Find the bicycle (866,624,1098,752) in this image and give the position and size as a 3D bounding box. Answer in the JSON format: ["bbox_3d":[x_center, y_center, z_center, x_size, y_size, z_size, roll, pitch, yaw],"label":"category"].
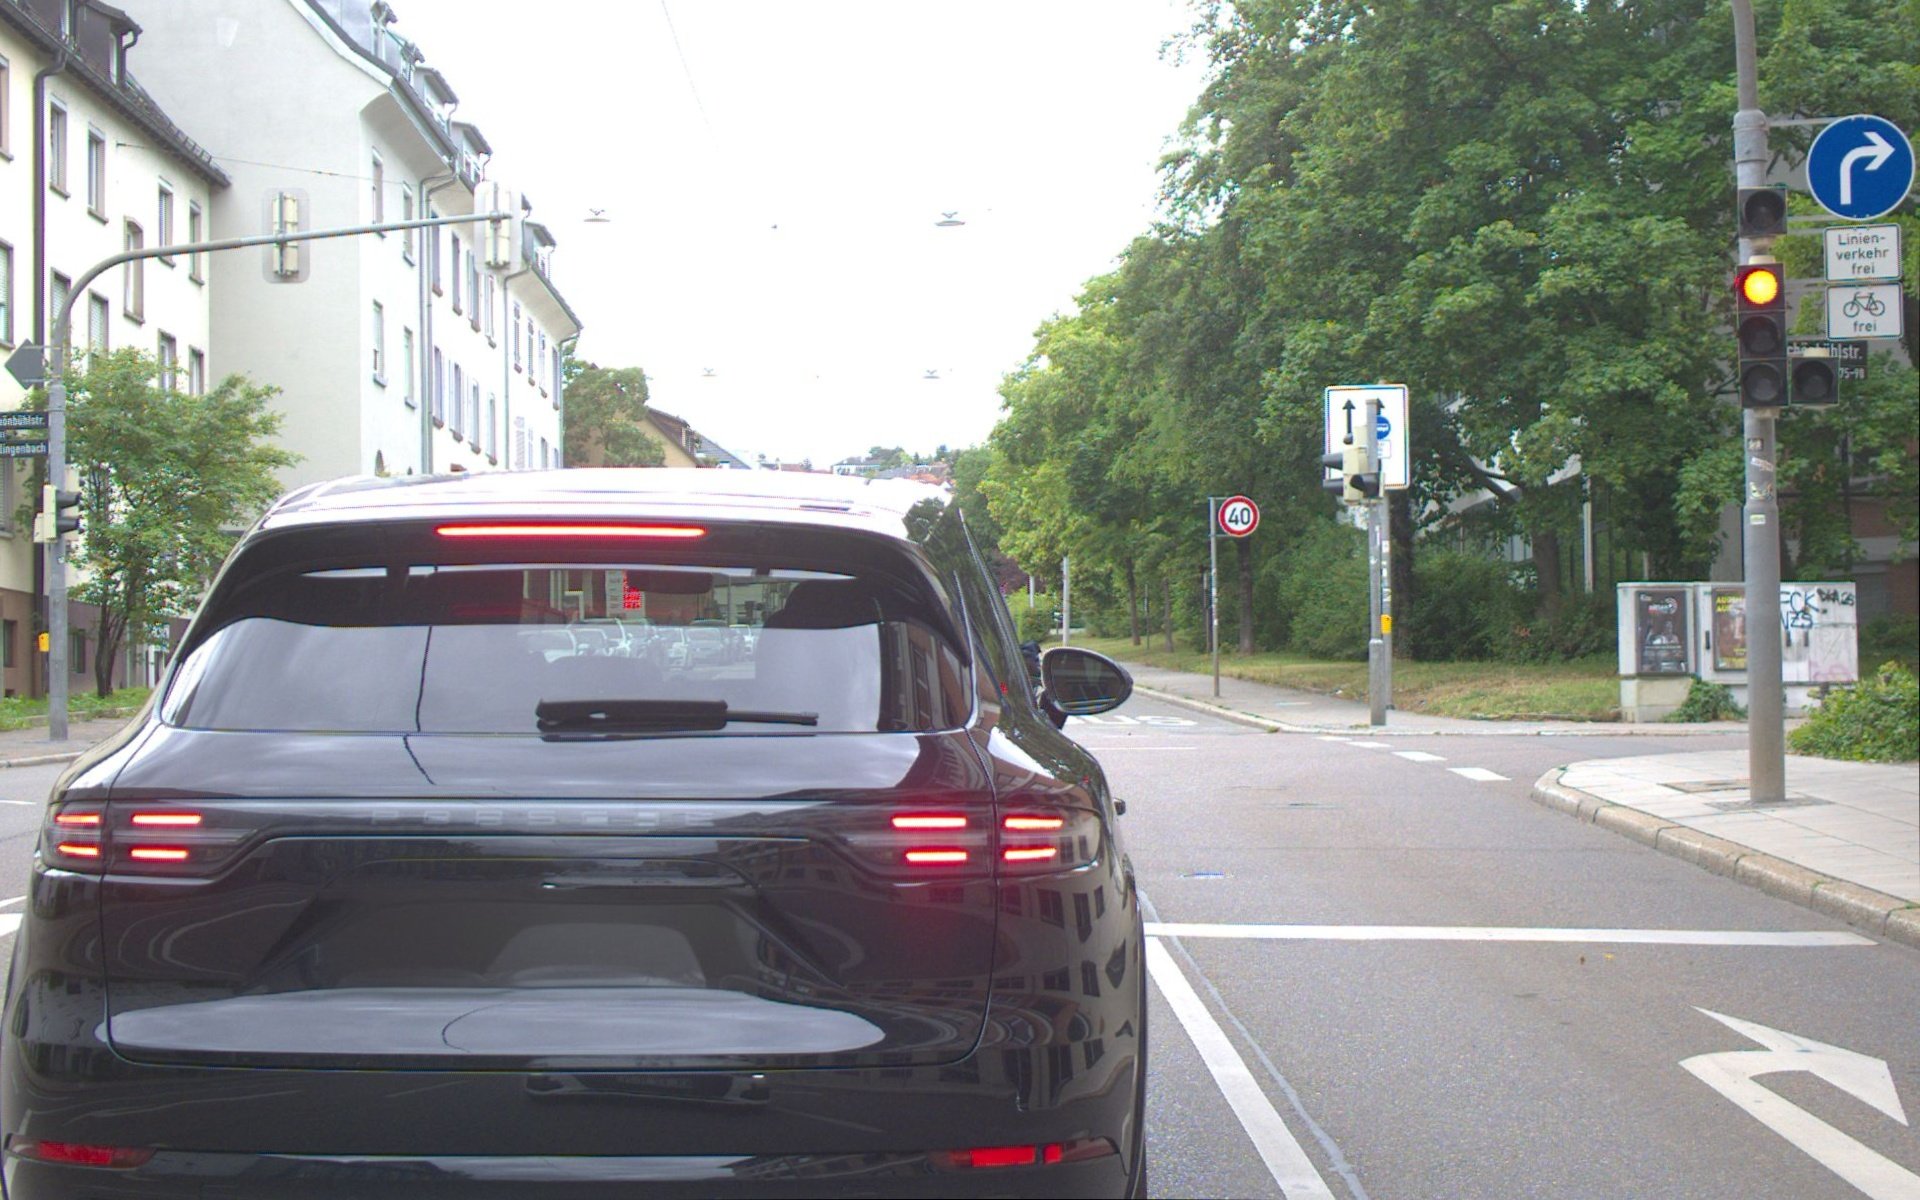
[{"bbox_3d":[0.186,0.761,29.908,1.905,1.077,0.703,1,0,-12],"label":"bicycle"}]

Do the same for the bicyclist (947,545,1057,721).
[{"bbox_3d":[0.360,0.282,29.930,0.809,1.514,0.707,1,0,-11],"label":"bicyclist"}]

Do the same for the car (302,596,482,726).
[{"bbox_3d":[-7.457,0.768,45.421,1.664,1.514,3.740,-4,0,0],"label":"car"}]

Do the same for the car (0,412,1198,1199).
[{"bbox_3d":[-0.672,0.555,7.161,1.993,1.691,4.000,1,1,-1],"label":"car"}]

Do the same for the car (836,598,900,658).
[{"bbox_3d":[-2.531,0.751,93.916,1.688,1.547,3.889,1,1,-2],"label":"car"}]

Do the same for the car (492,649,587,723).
[{"bbox_3d":[-8.481,1.719,69.610,1.669,1.357,4.001,0,1,-3],"label":"car"}]
